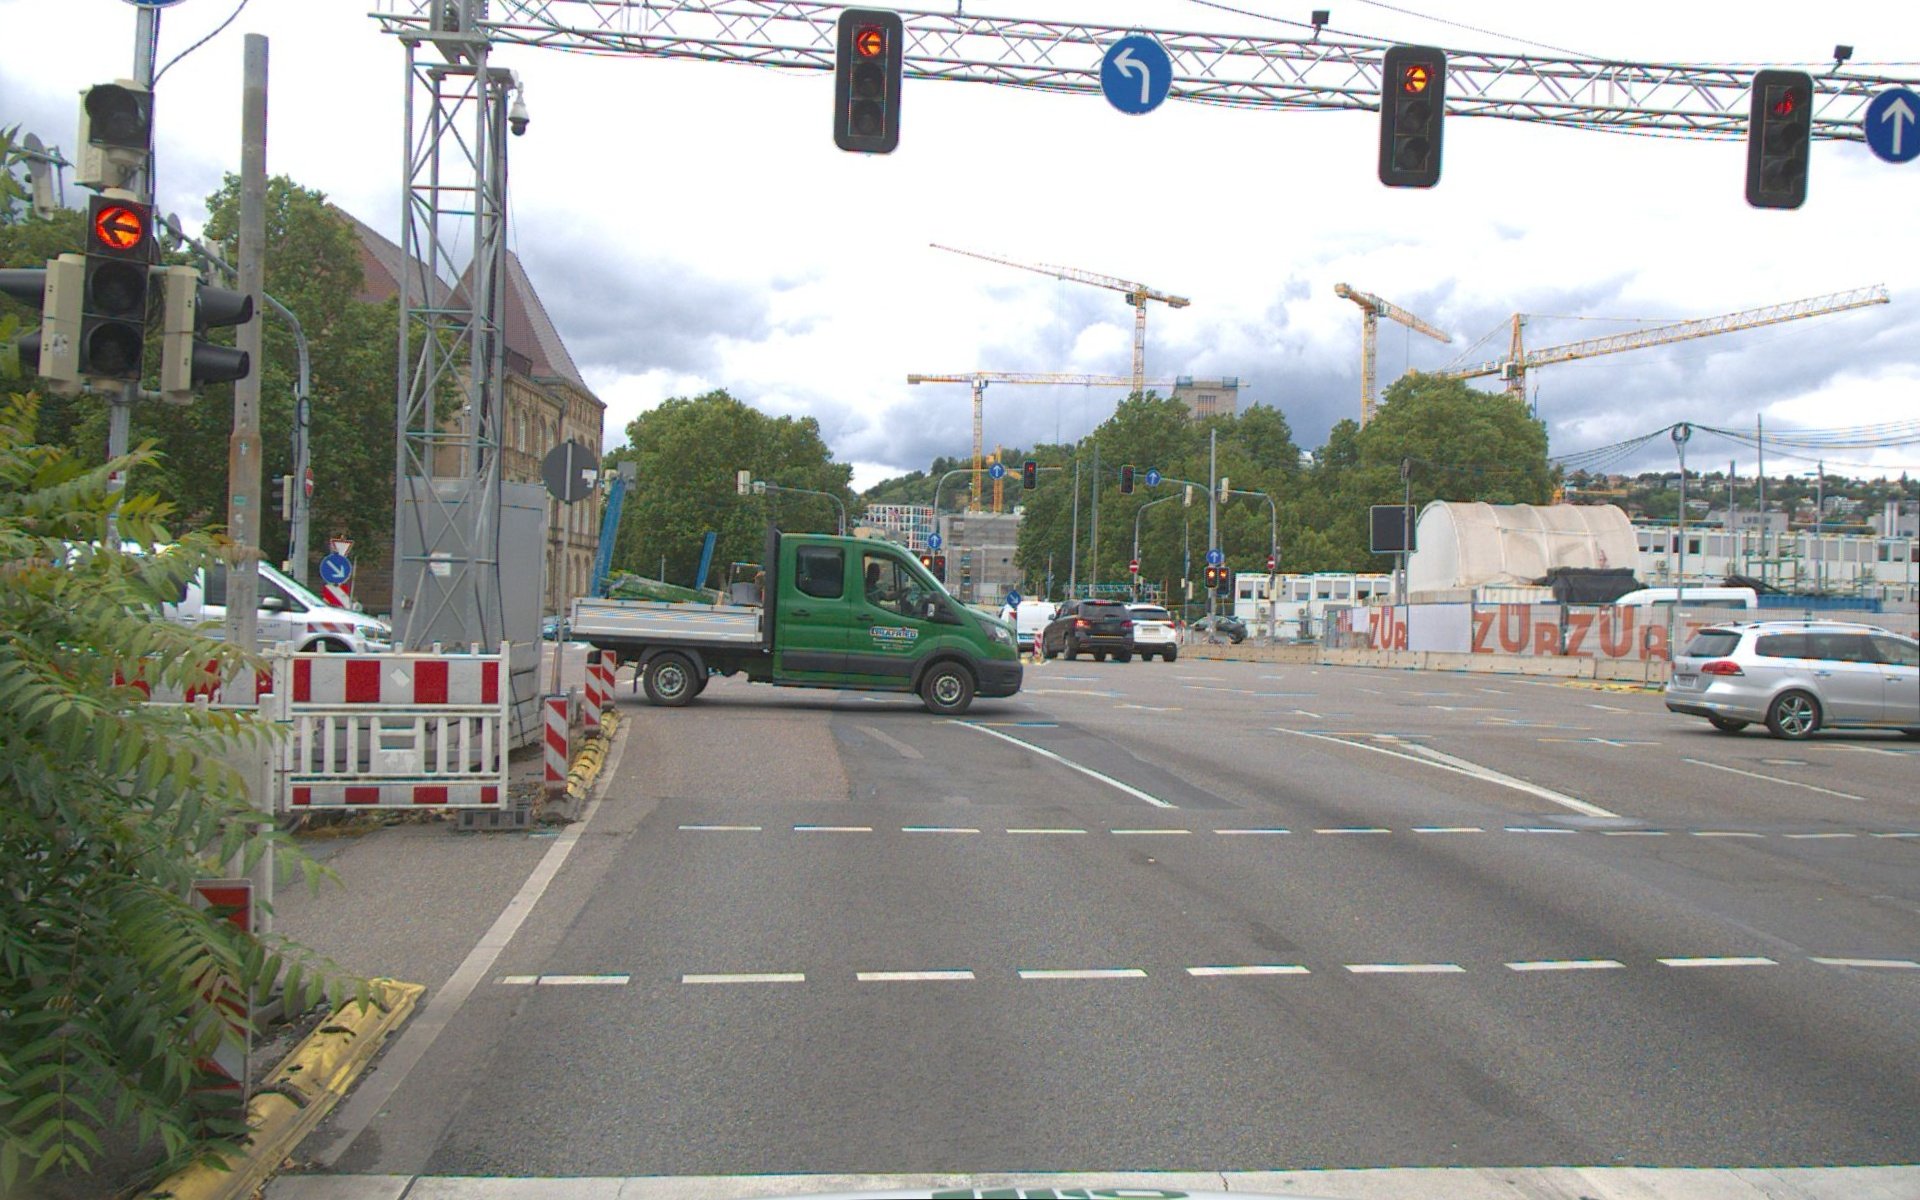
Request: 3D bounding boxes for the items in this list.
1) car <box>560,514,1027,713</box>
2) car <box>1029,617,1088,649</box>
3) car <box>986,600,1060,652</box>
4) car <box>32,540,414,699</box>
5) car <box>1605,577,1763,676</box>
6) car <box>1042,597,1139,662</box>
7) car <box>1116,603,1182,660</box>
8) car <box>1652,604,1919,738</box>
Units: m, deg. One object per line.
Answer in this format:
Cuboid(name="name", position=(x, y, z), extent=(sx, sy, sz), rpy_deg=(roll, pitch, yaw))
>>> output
Cuboid(name="car", position=(-2.098, 0.186, 21.380), extent=(5.647, 2.345, 2.301), rpy_deg=(1, 0, -6))
Cuboid(name="car", position=(4.513, 1.500, 76.044), extent=(1.650, 1.422, 3.070), rpy_deg=(1, 0, -19))
Cuboid(name="car", position=(2.081, 0.844, 55.556), extent=(1.783, 1.653, 3.993), rpy_deg=(1, 0, -8))
Cuboid(name="car", position=(-9.379, 0.269, 21.404), extent=(4.194, 1.915, 1.824), rpy_deg=(1, 0, -14))
Cuboid(name="car", position=(20.824, 0.741, 47.687), extent=(3.902, 2.708, 1.683), rpy_deg=(1, 0, 13))
Cuboid(name="car", position=(3.779, 0.835, 48.535), extent=(1.799, 1.776, 4.245), rpy_deg=(1, 0, -10))
Cuboid(name="car", position=(6.042, 0.991, 53.134), extent=(1.642, 1.732, 3.374), rpy_deg=(1, 0, -1))
Cuboid(name="car", position=(11.821, 0.927, 21.909), extent=(4.616, 1.653, 1.680), rpy_deg=(1, 0, -3))
